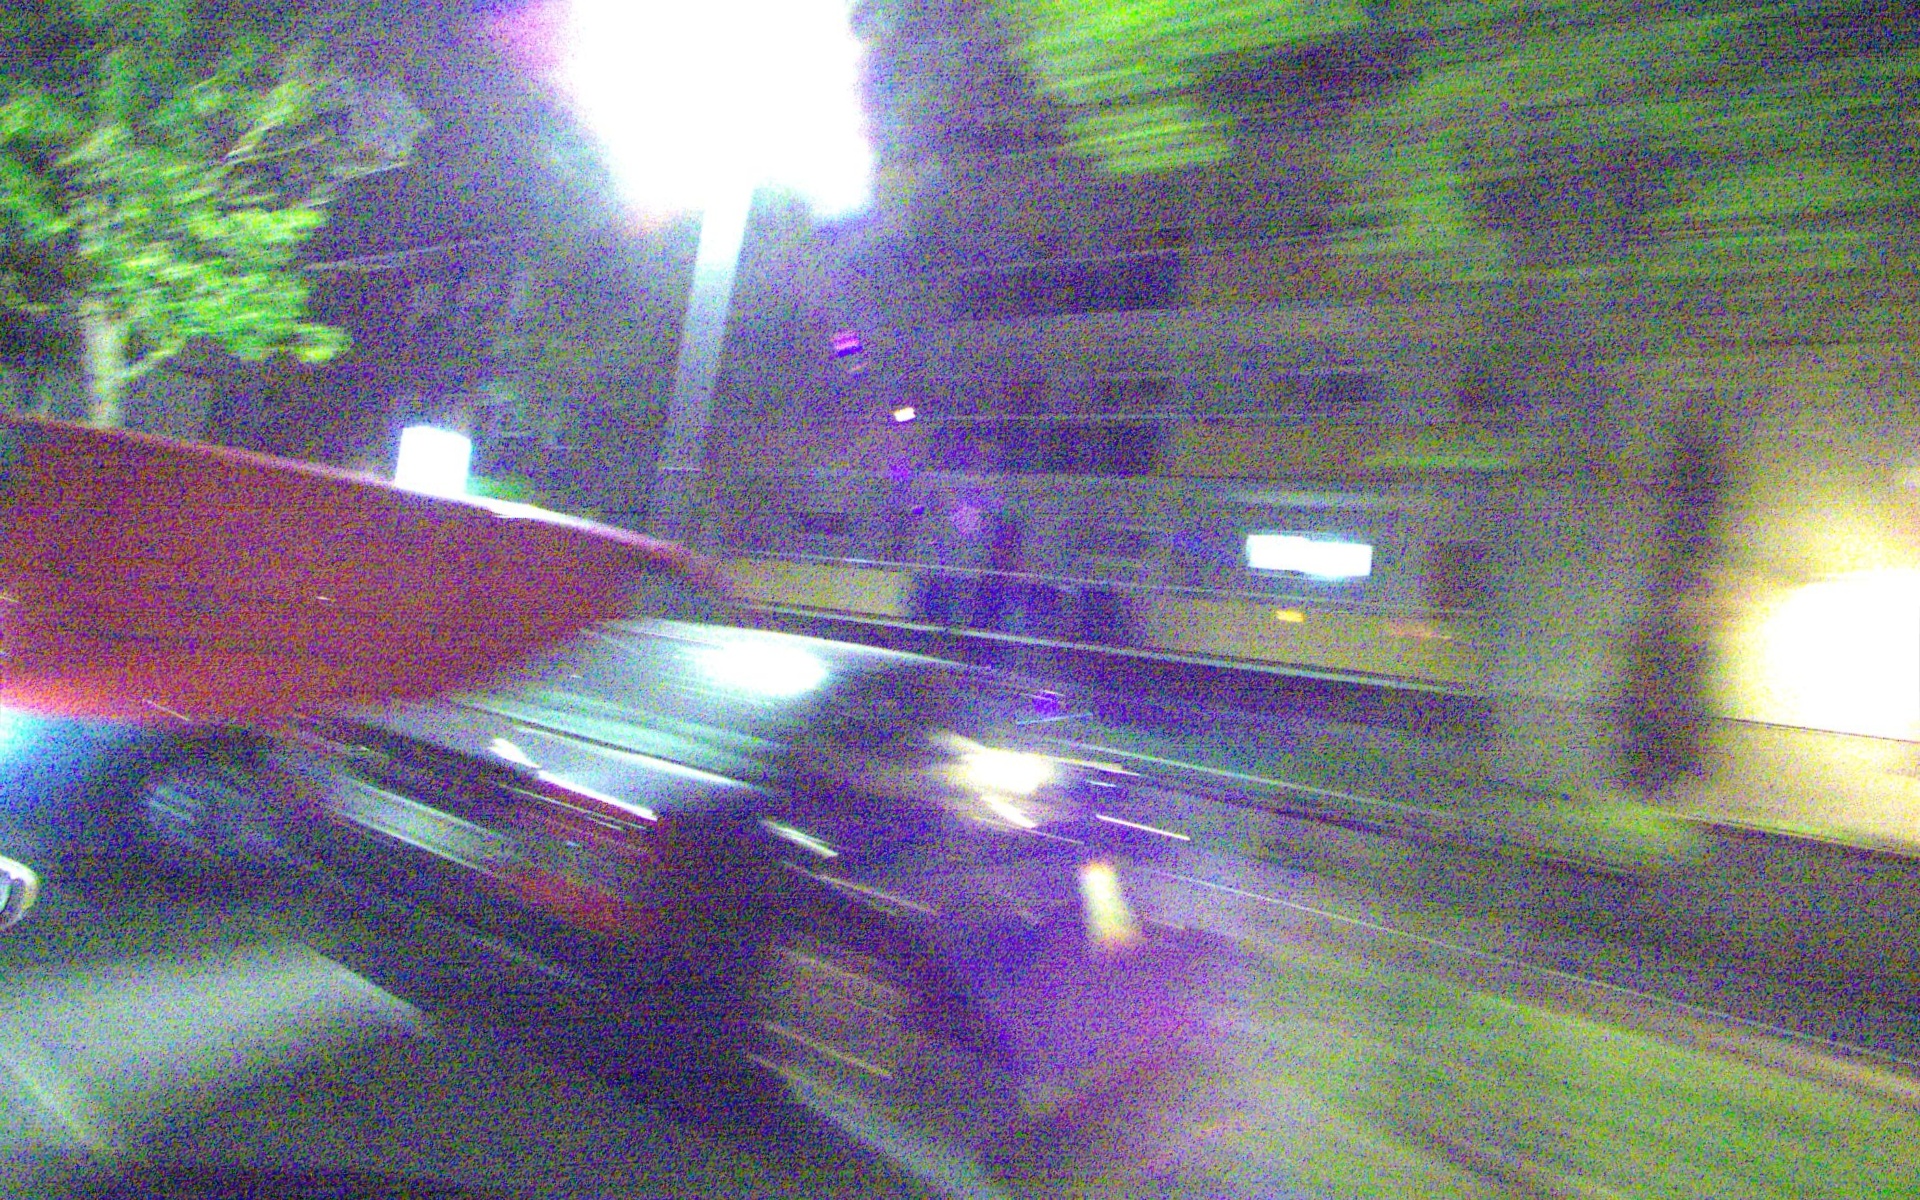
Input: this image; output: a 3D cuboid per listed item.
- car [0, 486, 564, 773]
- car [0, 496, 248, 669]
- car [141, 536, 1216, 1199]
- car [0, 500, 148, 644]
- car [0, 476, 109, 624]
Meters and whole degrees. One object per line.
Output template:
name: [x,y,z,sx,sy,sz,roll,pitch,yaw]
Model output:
car: [-5.244,0.244,7.212,1.956,1.568,3.922,7,-3,35]
car: [-9.862,-0.286,10.095,1.823,1.530,3.927,6,-3,30]
car: [-0.542,0.860,4.531,1.903,1.435,4.408,7,-3,32]
car: [-11.968,-0.521,11.285,1.822,1.531,3.929,7,-3,28]
car: [-14.074,-0.932,12.895,2.000,1.836,4.360,7,-3,36]
